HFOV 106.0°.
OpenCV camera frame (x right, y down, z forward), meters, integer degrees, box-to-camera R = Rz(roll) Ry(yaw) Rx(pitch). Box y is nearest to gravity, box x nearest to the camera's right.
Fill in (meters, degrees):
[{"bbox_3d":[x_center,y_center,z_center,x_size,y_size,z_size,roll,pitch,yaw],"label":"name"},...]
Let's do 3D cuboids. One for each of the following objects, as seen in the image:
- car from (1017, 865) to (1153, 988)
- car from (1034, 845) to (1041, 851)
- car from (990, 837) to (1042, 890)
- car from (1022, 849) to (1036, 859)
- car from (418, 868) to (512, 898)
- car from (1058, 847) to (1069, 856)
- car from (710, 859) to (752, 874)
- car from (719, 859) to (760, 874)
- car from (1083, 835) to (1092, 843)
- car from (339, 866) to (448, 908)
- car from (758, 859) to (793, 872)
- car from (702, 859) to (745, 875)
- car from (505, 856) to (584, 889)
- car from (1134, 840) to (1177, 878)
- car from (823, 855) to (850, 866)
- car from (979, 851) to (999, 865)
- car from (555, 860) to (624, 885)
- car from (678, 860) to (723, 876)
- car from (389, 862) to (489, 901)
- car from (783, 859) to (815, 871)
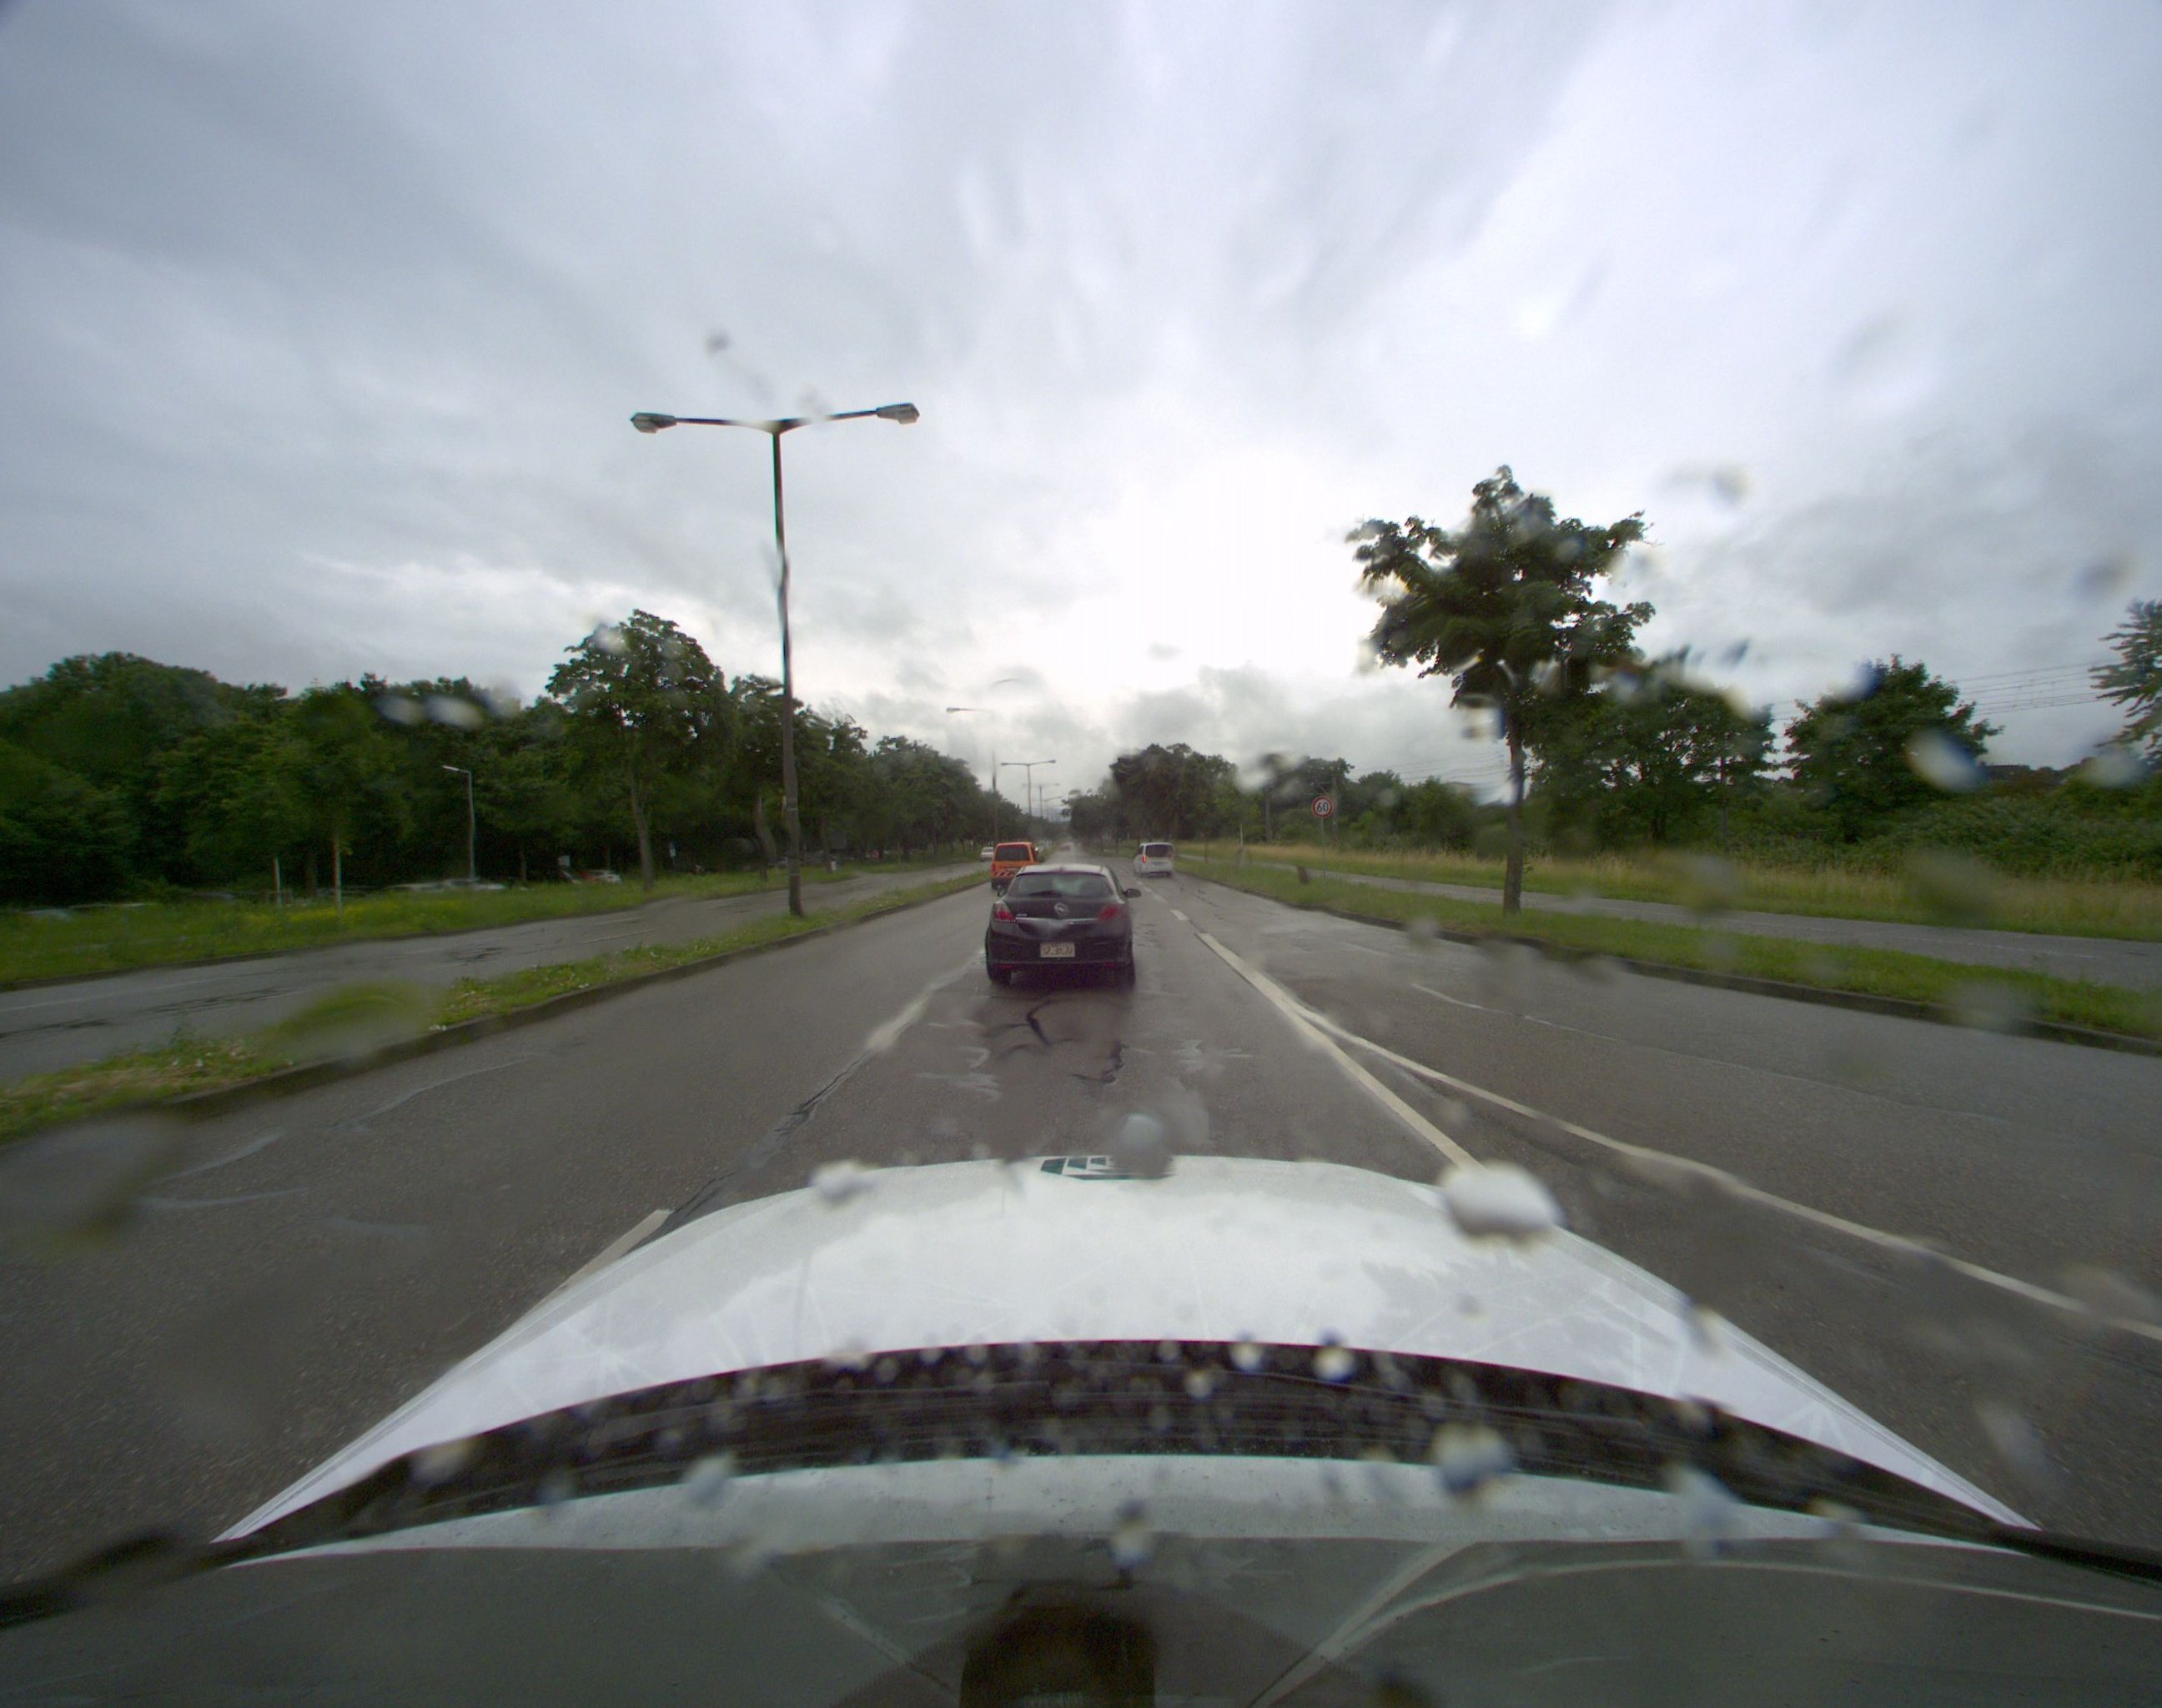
[{"bbox_3d":[0.151,0.816,10.727,1.457,1.329,3.761,-1,-1,3],"label":"car"},{"bbox_3d":[-12.497,-1.823,236.088,1.714,1.529,3.810,-2,2,1],"label":"car"},{"bbox_3d":[-2.590,0.349,33.432,1.729,2.019,4.848,0,0,0],"label":"car"},{"bbox_3d":[-8.019,0.030,126.393,1.821,1.450,3.810,-2,1,1],"label":"car"},{"bbox_3d":[-37.005,1.742,49.023,3.980,1.618,1.997,-2,0,-5],"label":"car"},{"bbox_3d":[-3.855,-0.609,176.497,1.985,1.879,4.004,-1,0,3],"label":"car"},{"bbox_3d":[-38.296,1.361,89.092,3.828,1.452,1.522,-2,1,-5],"label":"car"},{"bbox_3d":[-38.475,1.381,91.769,3.828,1.452,1.522,-2,1,-5],"label":"car"},{"bbox_3d":[1.823,-4.401,239.203,2.508,2.052,5.293,1,0,0],"label":"car"},{"bbox_3d":[-37.144,1.735,44.071,3.980,2.013,1.997,-2,1,-5],"label":"car"},{"bbox_3d":[-38.219,1.444,101.989,3.828,1.452,1.522,-2,1,-5],"label":"car"},{"bbox_3d":[-37.993,1.373,86.652,3.828,1.452,1.522,-2,1,-5],"label":"car"},{"bbox_3d":[-37.055,1.256,56.319,3.980,2.013,1.997,-2,1,-5],"label":"car"},{"bbox_3d":[4.045,0.285,44.986,2.052,1.974,4.610,-1,0,1],"label":"car"},{"bbox_3d":[-37.965,0.981,126.643,3.842,1.452,1.517,-2,1,-15],"label":"car"},{"bbox_3d":[-10.606,0.483,94.194,1.676,1.554,4.003,0,0,2],"label":"car"},{"bbox_3d":[-36.962,1.370,61.326,3.980,1.640,1.909,-2,1,-5],"label":"car"},{"bbox_3d":[-38.060,1.383,81.454,3.727,1.426,1.486,-2,1,-5],"label":"car"},{"bbox_3d":[-36.762,1.538,46.726,3.980,2.013,1.997,-2,1,-5],"label":"car"},{"bbox_3d":[-38.723,1.543,111.980,3.828,1.452,1.522,-2,1,-5],"label":"car"}]
